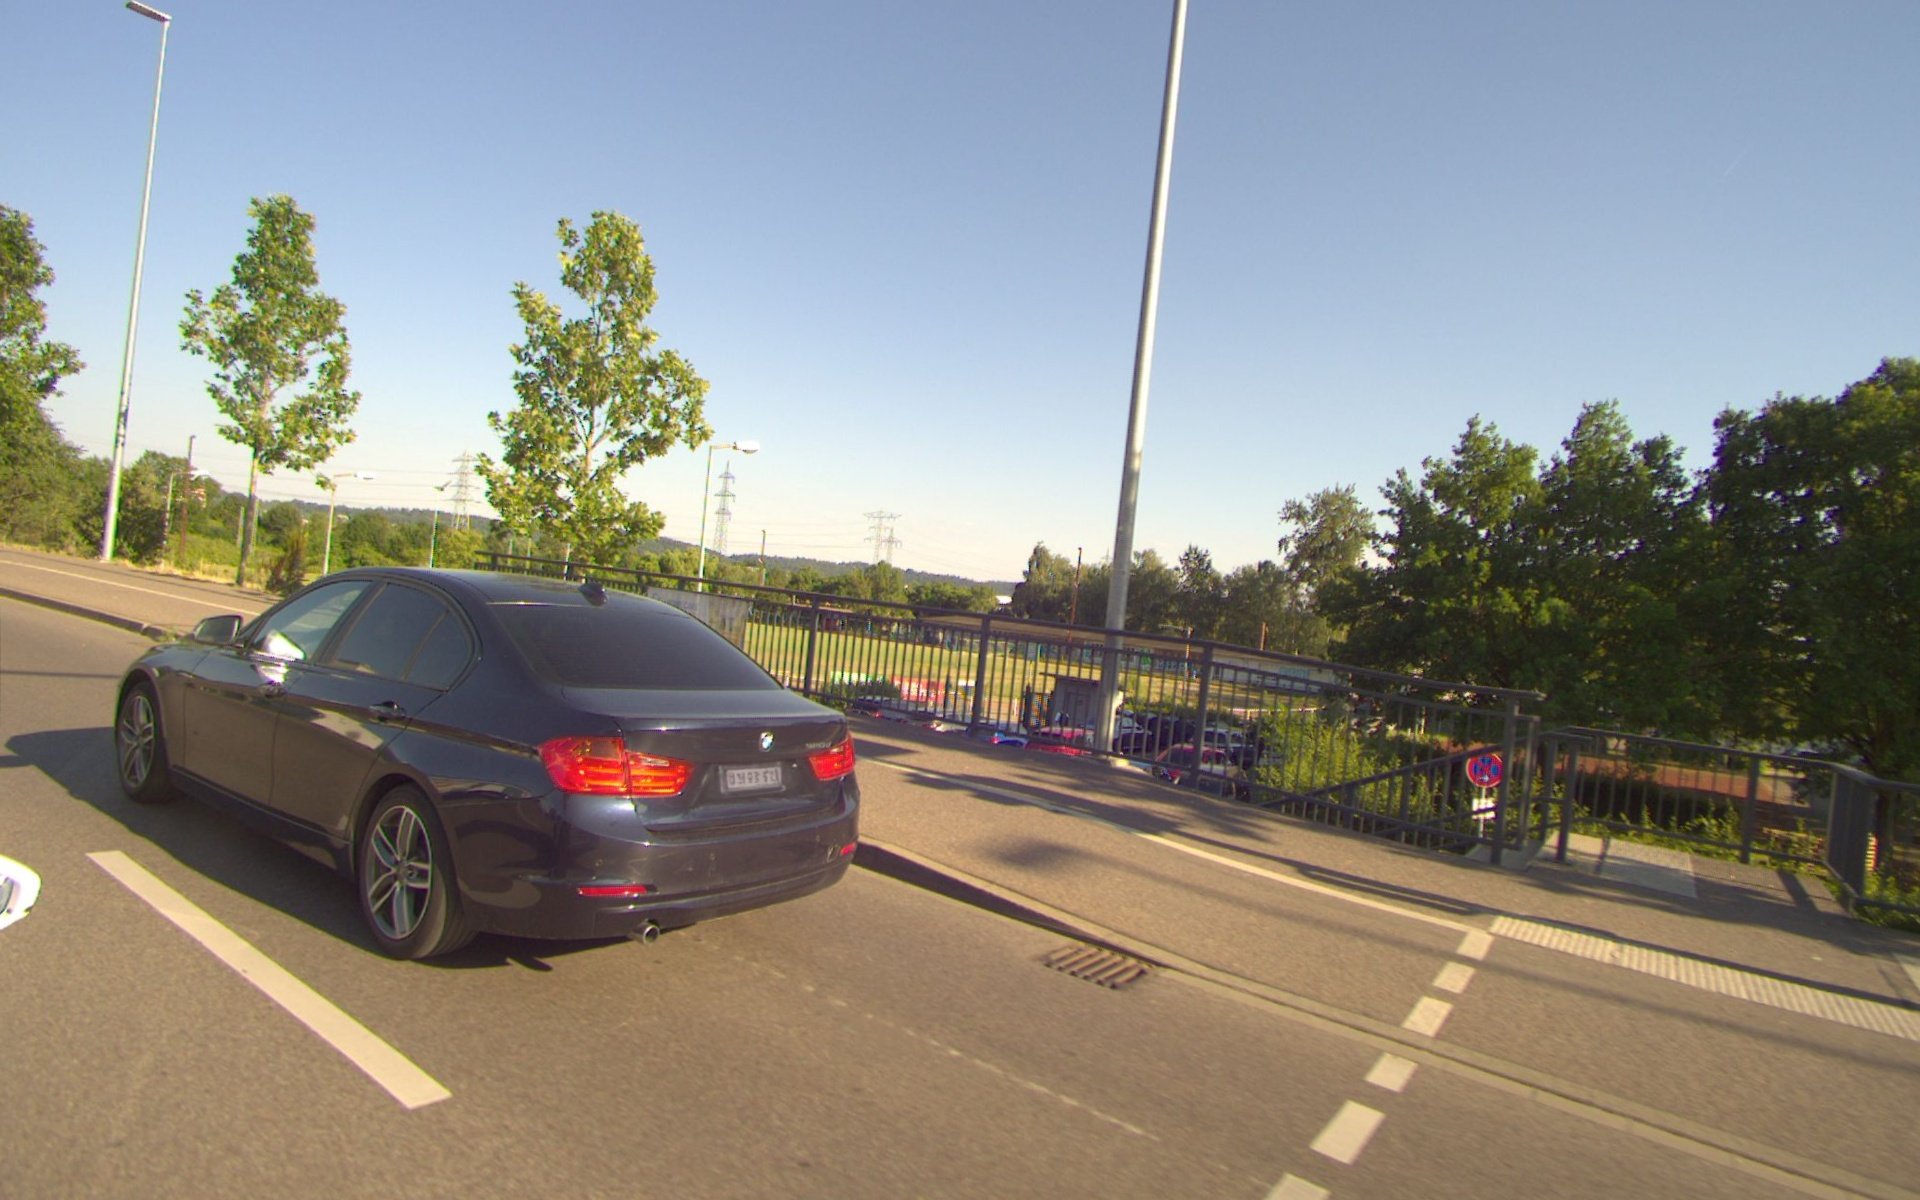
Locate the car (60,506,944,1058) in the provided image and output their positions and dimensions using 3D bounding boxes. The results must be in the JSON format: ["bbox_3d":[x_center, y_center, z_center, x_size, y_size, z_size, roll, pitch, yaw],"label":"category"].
[{"bbox_3d":[-2.525,0.517,5.067,4.513,1.484,1.868,7,-2,34],"label":"car"}]

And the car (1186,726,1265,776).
[{"bbox_3d":[10.414,5.843,39.239,1.665,1.587,3.916,7,-3,34],"label":"car"}]

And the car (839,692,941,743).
[{"bbox_3d":[-2.550,4.403,37.433,1.555,1.594,3.916,7,-3,34],"label":"car"}]

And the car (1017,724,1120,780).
[{"bbox_3d":[3.559,4.875,32.481,1.641,1.466,3.699,6,-3,34],"label":"car"}]

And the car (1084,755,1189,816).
[{"bbox_3d":[4.690,4.830,26.478,1.472,1.230,3.096,7,-3,34],"label":"car"}]

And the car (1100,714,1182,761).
[{"bbox_3d":[7.512,5.656,41.508,1.756,1.594,3.916,7,-3,34],"label":"car"}]

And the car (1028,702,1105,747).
[{"bbox_3d":[4.507,5.237,42.186,1.556,1.594,3.511,7,-3,35],"label":"car"}]

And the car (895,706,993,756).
[{"bbox_3d":[-0.528,4.668,35.963,1.555,1.464,3.699,7,-3,34],"label":"car"}]

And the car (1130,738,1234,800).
[{"bbox_3d":[6.787,5.067,30.545,1.724,1.464,3.699,7,-3,34],"label":"car"}]

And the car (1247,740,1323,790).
[{"bbox_3d":[12.299,6.188,37.987,1.653,1.518,3.699,7,-3,34],"label":"car"}]

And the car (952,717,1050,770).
[{"bbox_3d":[1.466,4.926,34.662,1.555,1.464,3.699,7,-3,34],"label":"car"}]
